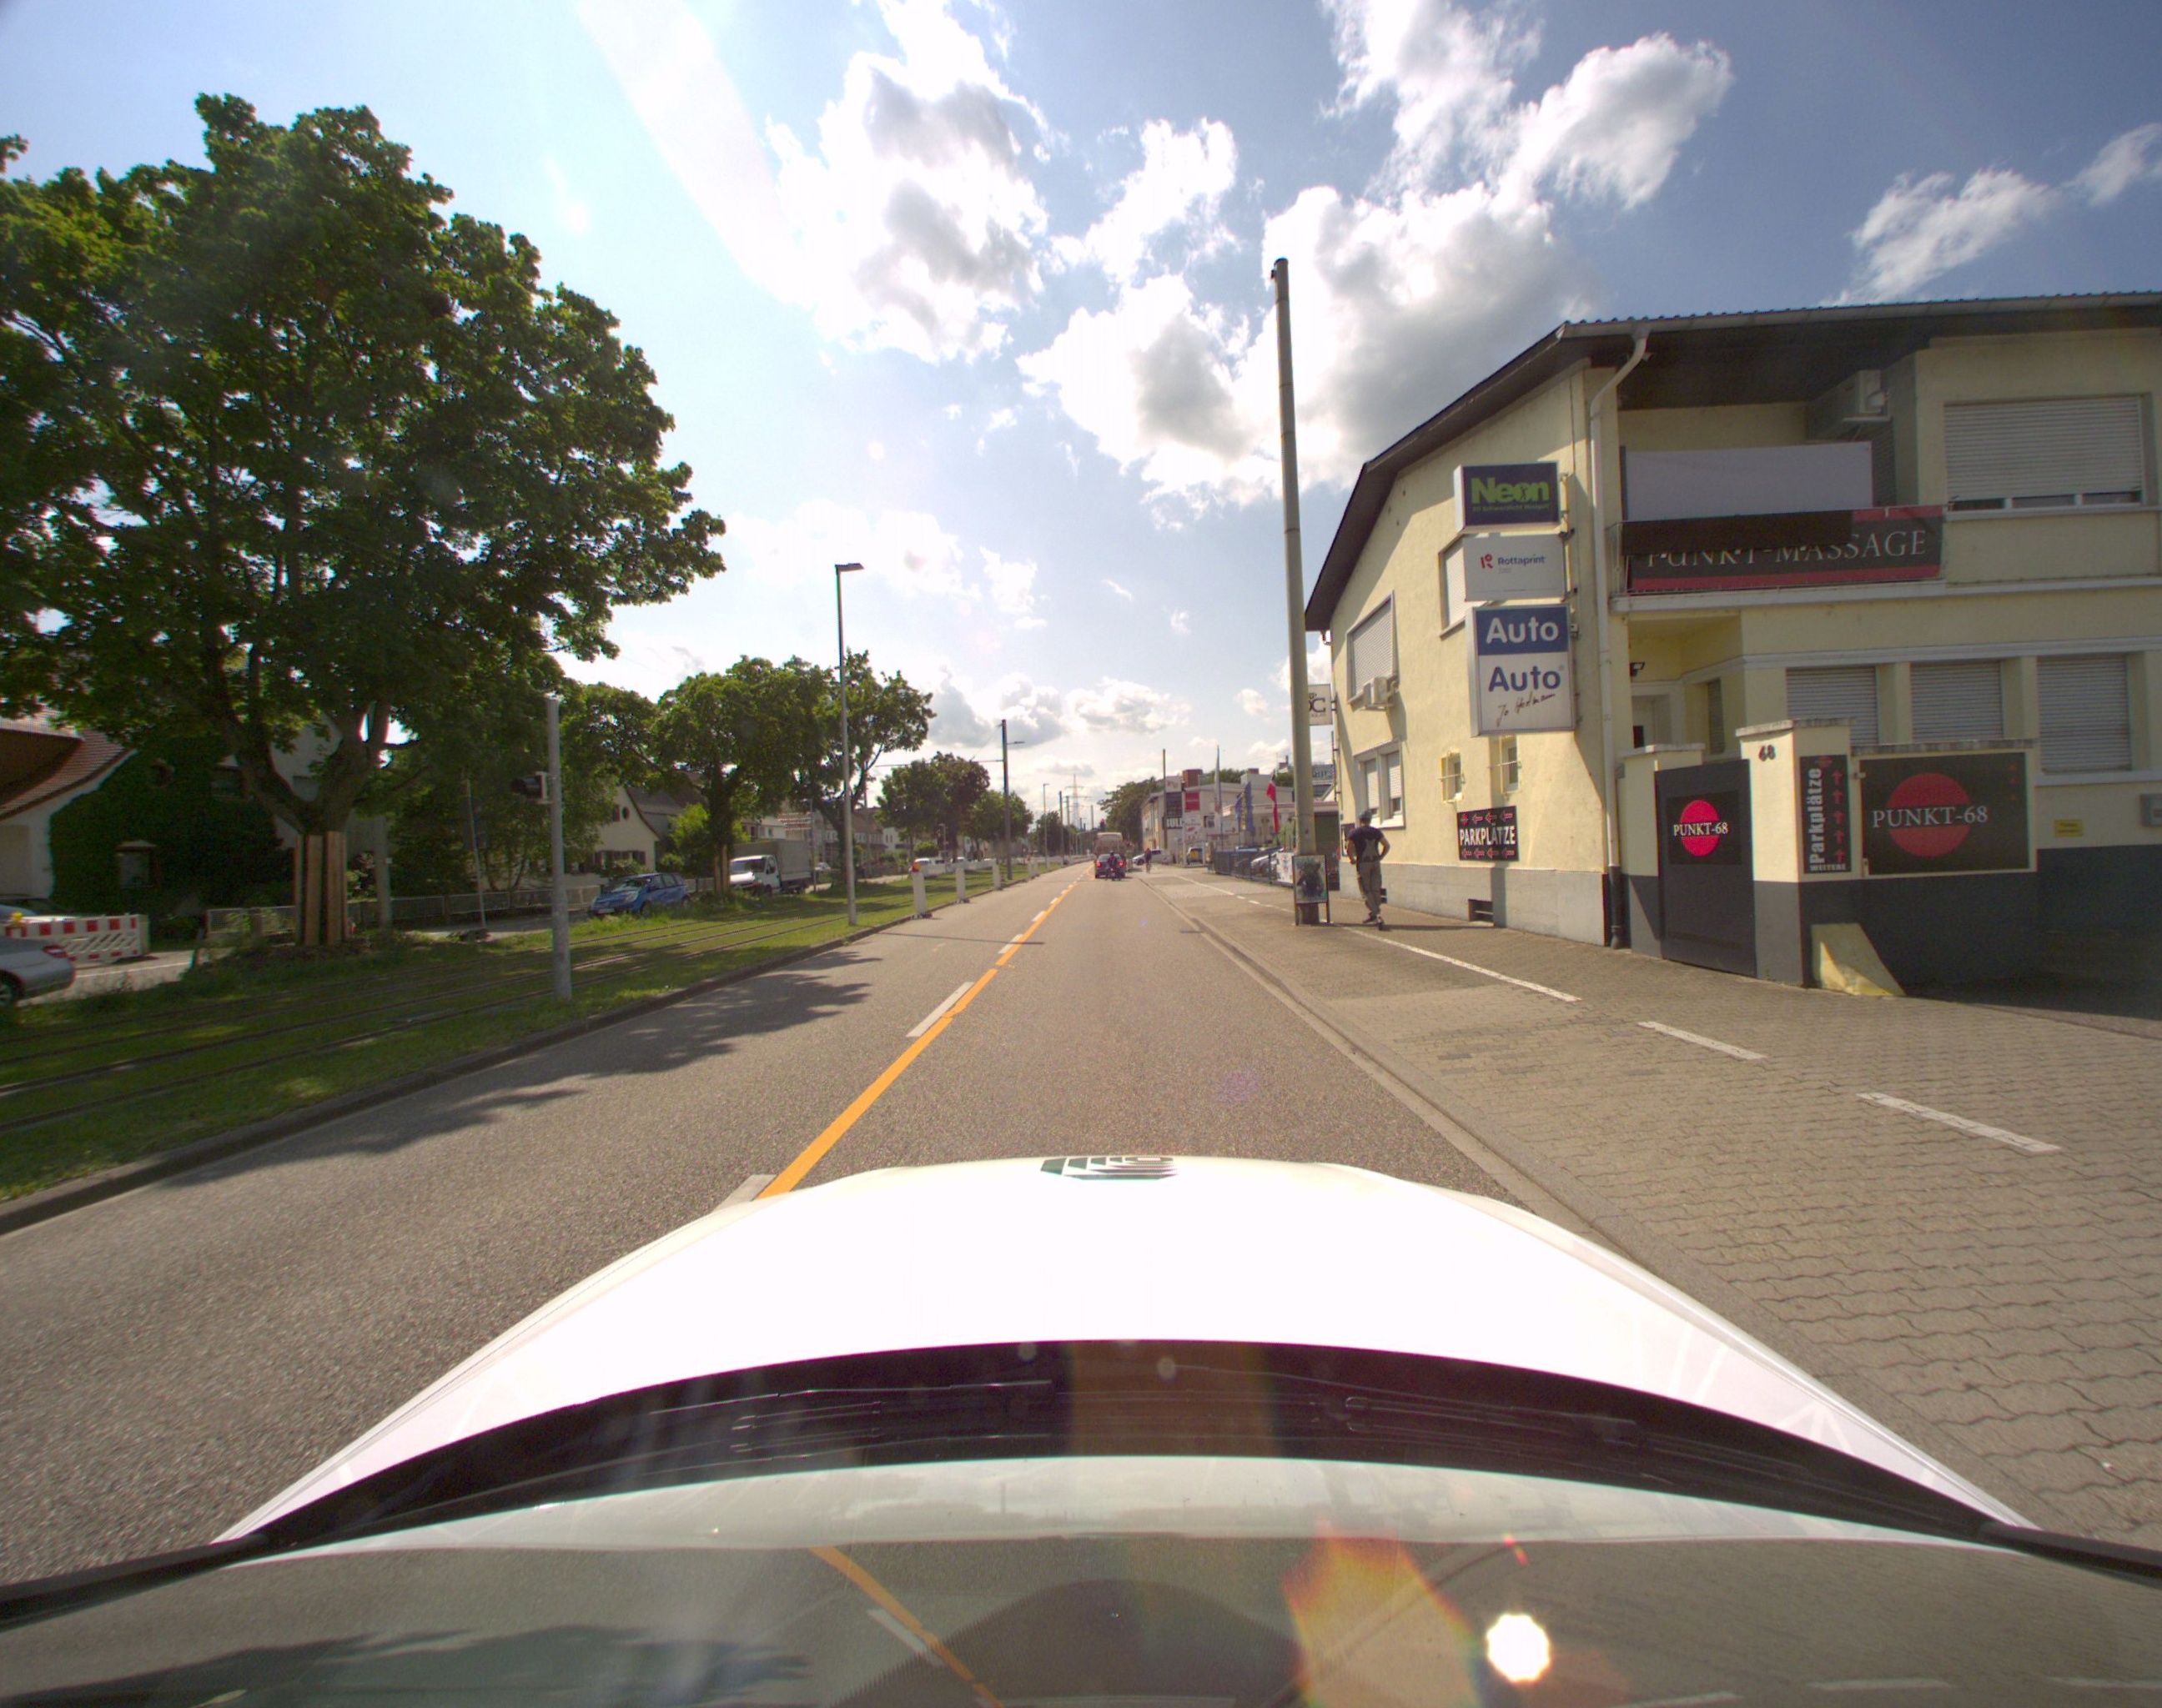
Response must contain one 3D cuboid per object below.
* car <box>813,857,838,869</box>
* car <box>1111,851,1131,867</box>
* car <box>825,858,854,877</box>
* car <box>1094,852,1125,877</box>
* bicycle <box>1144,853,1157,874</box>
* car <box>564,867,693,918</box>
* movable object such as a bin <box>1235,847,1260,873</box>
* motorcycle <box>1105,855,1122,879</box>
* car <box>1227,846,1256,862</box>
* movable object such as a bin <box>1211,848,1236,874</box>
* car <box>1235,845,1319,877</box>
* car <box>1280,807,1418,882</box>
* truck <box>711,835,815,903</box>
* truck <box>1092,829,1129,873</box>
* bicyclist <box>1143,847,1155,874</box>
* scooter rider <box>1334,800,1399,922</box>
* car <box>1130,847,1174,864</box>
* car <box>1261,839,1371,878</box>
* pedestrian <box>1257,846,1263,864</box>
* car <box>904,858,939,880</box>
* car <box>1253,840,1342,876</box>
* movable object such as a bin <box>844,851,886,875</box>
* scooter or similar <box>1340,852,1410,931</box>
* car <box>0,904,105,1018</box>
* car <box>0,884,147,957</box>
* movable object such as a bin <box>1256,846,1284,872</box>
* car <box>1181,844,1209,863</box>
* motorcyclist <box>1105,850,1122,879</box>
[{"bbox_3d":[-24.970,0.903,79.618,1.684,1.052,3.969,-3,-1,-8],"label":"car"},{"bbox_3d":[3.906,0.438,79.646,1.814,1.464,4.003,-2,0,2],"label":"car"},{"bbox_3d":[-22.695,1.256,76.584,1.678,1.722,3.031,-3,-1,2],"label":"car"},{"bbox_3d":[1.792,0.623,50.479,1.815,1.424,4.002,-2,0,2],"label":"car"},{"bbox_3d":[4.708,0.633,55.303,0.690,1.361,2.419,-2,0,2],"label":"bicycle"},{"bbox_3d":[-15.033,1.242,27.337,1.987,1.453,3.999,-3,-1,0],"label":"car"},{"bbox_3d":[9.712,0.363,47.607,1.251,1.444,0.824,-3,-1,2],"label":"movable object such as a bin"},{"bbox_3d":[1.808,0.739,46.000,0.936,1.320,2.646,0,0,2],"label":"motorcycle"},{"bbox_3d":[15.274,0.000,77.687,1.953,1.420,3.999,-3,-1,0],"label":"car"},{"bbox_3d":[8.346,0.424,47.750,1.251,1.444,0.824,-3,-1,2],"label":"movable object such as a bin"},{"bbox_3d":[9.984,0.376,41.509,3.954,1.443,1.719,-3,-1,19],"label":"car"},{"bbox_3d":[10.126,-0.344,31.063,4.517,2.573,2.153,-2,-1,3],"label":"car"},{"bbox_3d":[-14.701,0.615,38.193,1.986,2.767,6.279,-5,0,2],"label":"truck"},{"bbox_3d":[2.453,-0.315,66.673,2.600,3.255,9.189,-3,1,3],"label":"truck"},{"bbox_3d":[4.627,0.442,55.295,0.669,1.744,0.814,-2,0,1],"label":"bicyclist"},{"bbox_3d":[4.825,0.099,13.806,0.714,1.963,0.786,-5,1,3],"label":"scooter rider"},{"bbox_3d":[7.618,0.174,87.818,4.325,1.551,1.945,-3,-1,-7],"label":"car"},{"bbox_3d":[9.683,0.193,33.896,4.159,1.431,1.825,-3,-1,8],"label":"car"},{"bbox_3d":[16.615,0.079,75.597,0.395,1.689,0.486,-3,-1,3],"label":"pedestrian"},{"bbox_3d":[-13.825,1.272,70.838,1.986,1.750,4.002,-3,-1,2],"label":"car"},{"bbox_3d":[10.314,0.183,38.716,3.956,1.496,1.758,-3,-1,17],"label":"car"},{"bbox_3d":[-24.308,0.980,91.823,4.351,2.449,1.777,-3,0,-20],"label":"movable object such as a bin"},{"bbox_3d":[4.820,0.592,13.437,0.538,1.195,1.611,-4,-1,2],"label":"scooter or similar"},{"bbox_3d":[-15.568,1.514,9.682,1.798,1.482,4.942,-3,-1,2],"label":"car"},{"bbox_3d":[-26.951,1.730,20.961,3.634,1.684,1.873,-3,-1,1],"label":"car"},{"bbox_3d":[11.034,0.305,47.603,1.318,1.444,0.953,-3,-1,-5],"label":"movable object such as a bin"},{"bbox_3d":[10.747,-0.061,77.080,1.953,1.648,3.999,-3,-1,0],"label":"car"},{"bbox_3d":[1.804,0.585,45.820,0.936,1.615,1.205,0,0,2],"label":"motorcyclist"}]
